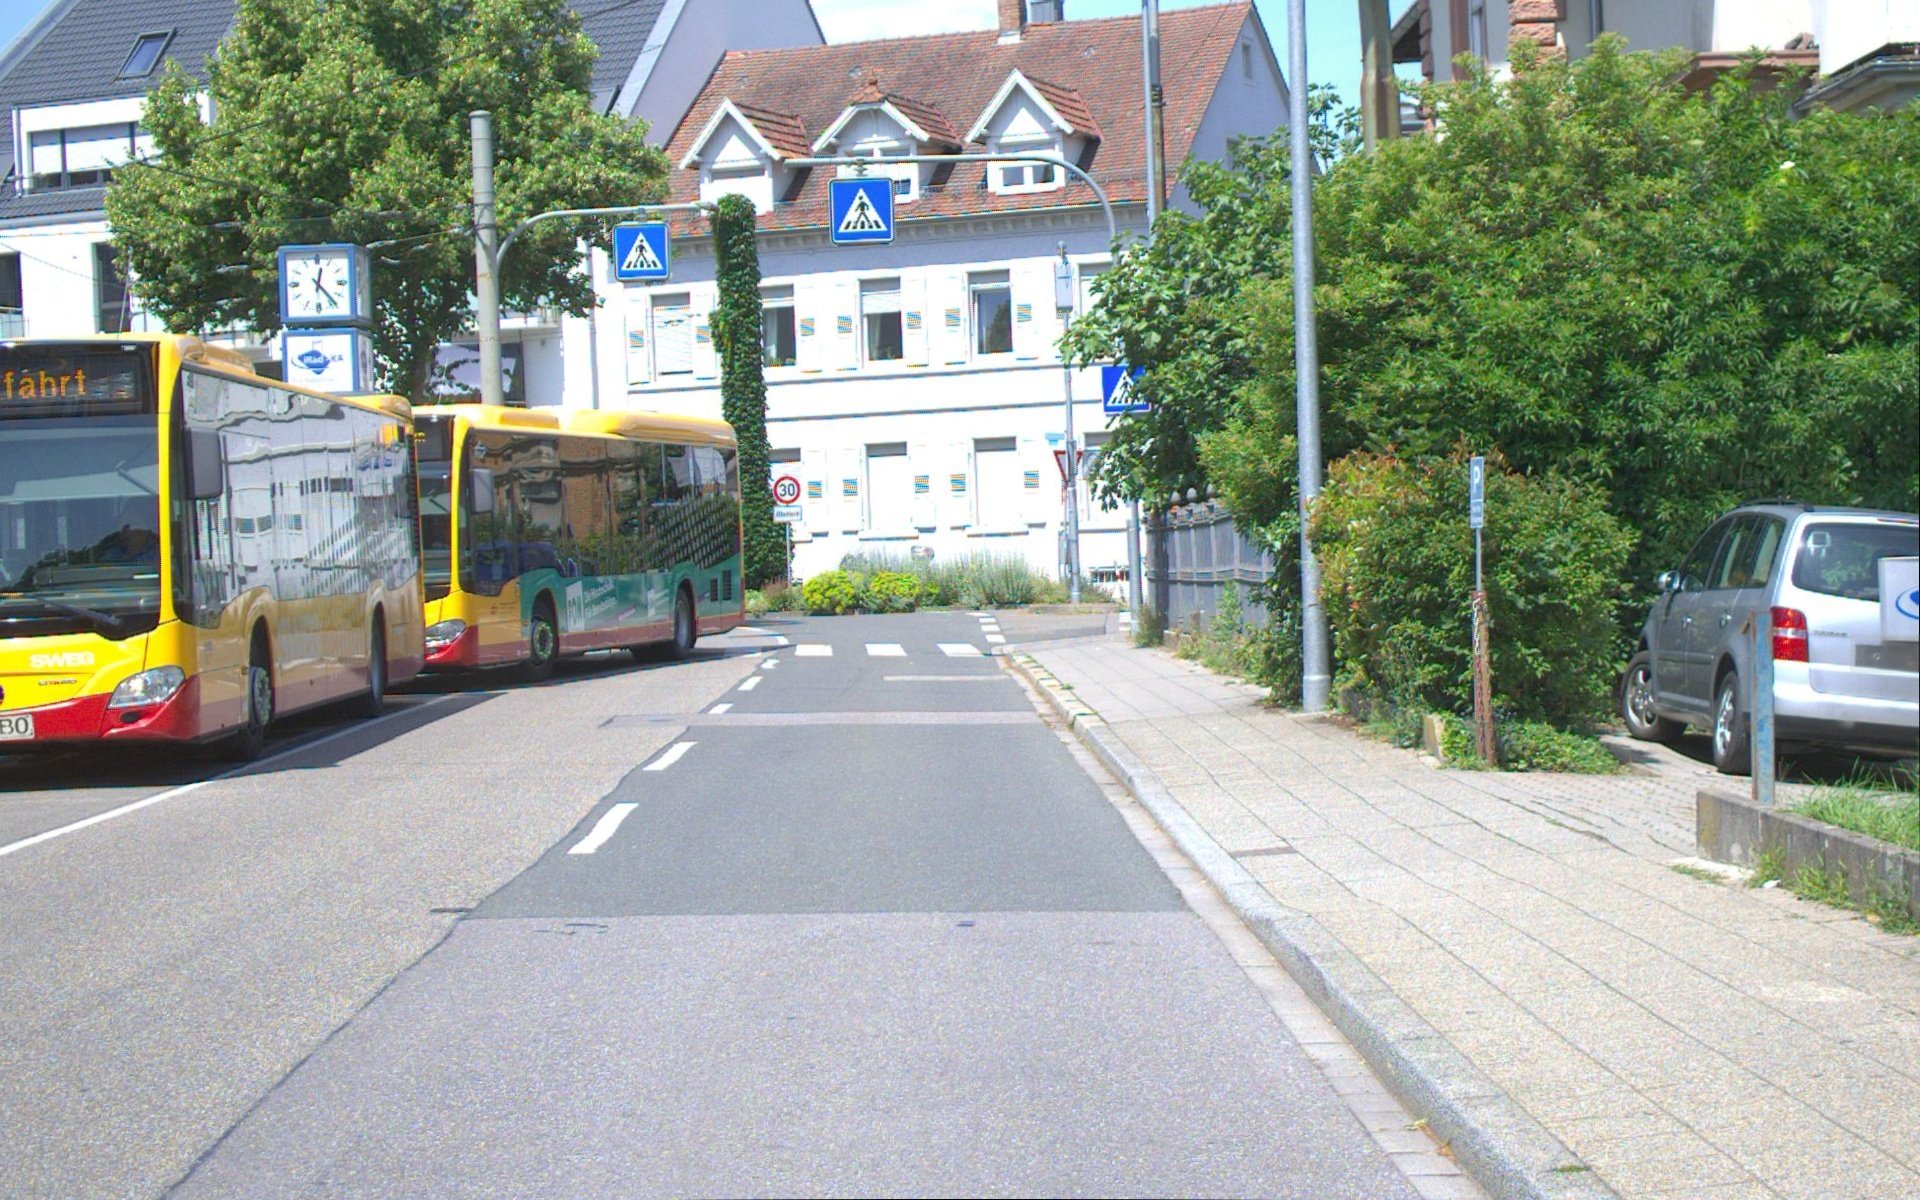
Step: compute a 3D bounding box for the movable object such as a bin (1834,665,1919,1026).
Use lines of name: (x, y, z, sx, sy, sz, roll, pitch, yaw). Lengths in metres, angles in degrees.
movable object such as a bin: (2.623, 0.626, 8.902, 0.406, 0.904, 0.729, -6, 0, -4)

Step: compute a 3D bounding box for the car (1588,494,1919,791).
car: (5.244, 0.279, 21.441, 1.760, 1.622, 4.000, 3, -1, -1)

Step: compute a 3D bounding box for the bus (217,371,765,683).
bus: (-5.201, -0.922, 41.523, 2.781, 3.197, 12.301, 0, 2, 11)

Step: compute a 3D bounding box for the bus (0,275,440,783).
bus: (-6.467, -0.494, 27.990, 2.907, 3.237, 12.119, 0, 0, -1)
